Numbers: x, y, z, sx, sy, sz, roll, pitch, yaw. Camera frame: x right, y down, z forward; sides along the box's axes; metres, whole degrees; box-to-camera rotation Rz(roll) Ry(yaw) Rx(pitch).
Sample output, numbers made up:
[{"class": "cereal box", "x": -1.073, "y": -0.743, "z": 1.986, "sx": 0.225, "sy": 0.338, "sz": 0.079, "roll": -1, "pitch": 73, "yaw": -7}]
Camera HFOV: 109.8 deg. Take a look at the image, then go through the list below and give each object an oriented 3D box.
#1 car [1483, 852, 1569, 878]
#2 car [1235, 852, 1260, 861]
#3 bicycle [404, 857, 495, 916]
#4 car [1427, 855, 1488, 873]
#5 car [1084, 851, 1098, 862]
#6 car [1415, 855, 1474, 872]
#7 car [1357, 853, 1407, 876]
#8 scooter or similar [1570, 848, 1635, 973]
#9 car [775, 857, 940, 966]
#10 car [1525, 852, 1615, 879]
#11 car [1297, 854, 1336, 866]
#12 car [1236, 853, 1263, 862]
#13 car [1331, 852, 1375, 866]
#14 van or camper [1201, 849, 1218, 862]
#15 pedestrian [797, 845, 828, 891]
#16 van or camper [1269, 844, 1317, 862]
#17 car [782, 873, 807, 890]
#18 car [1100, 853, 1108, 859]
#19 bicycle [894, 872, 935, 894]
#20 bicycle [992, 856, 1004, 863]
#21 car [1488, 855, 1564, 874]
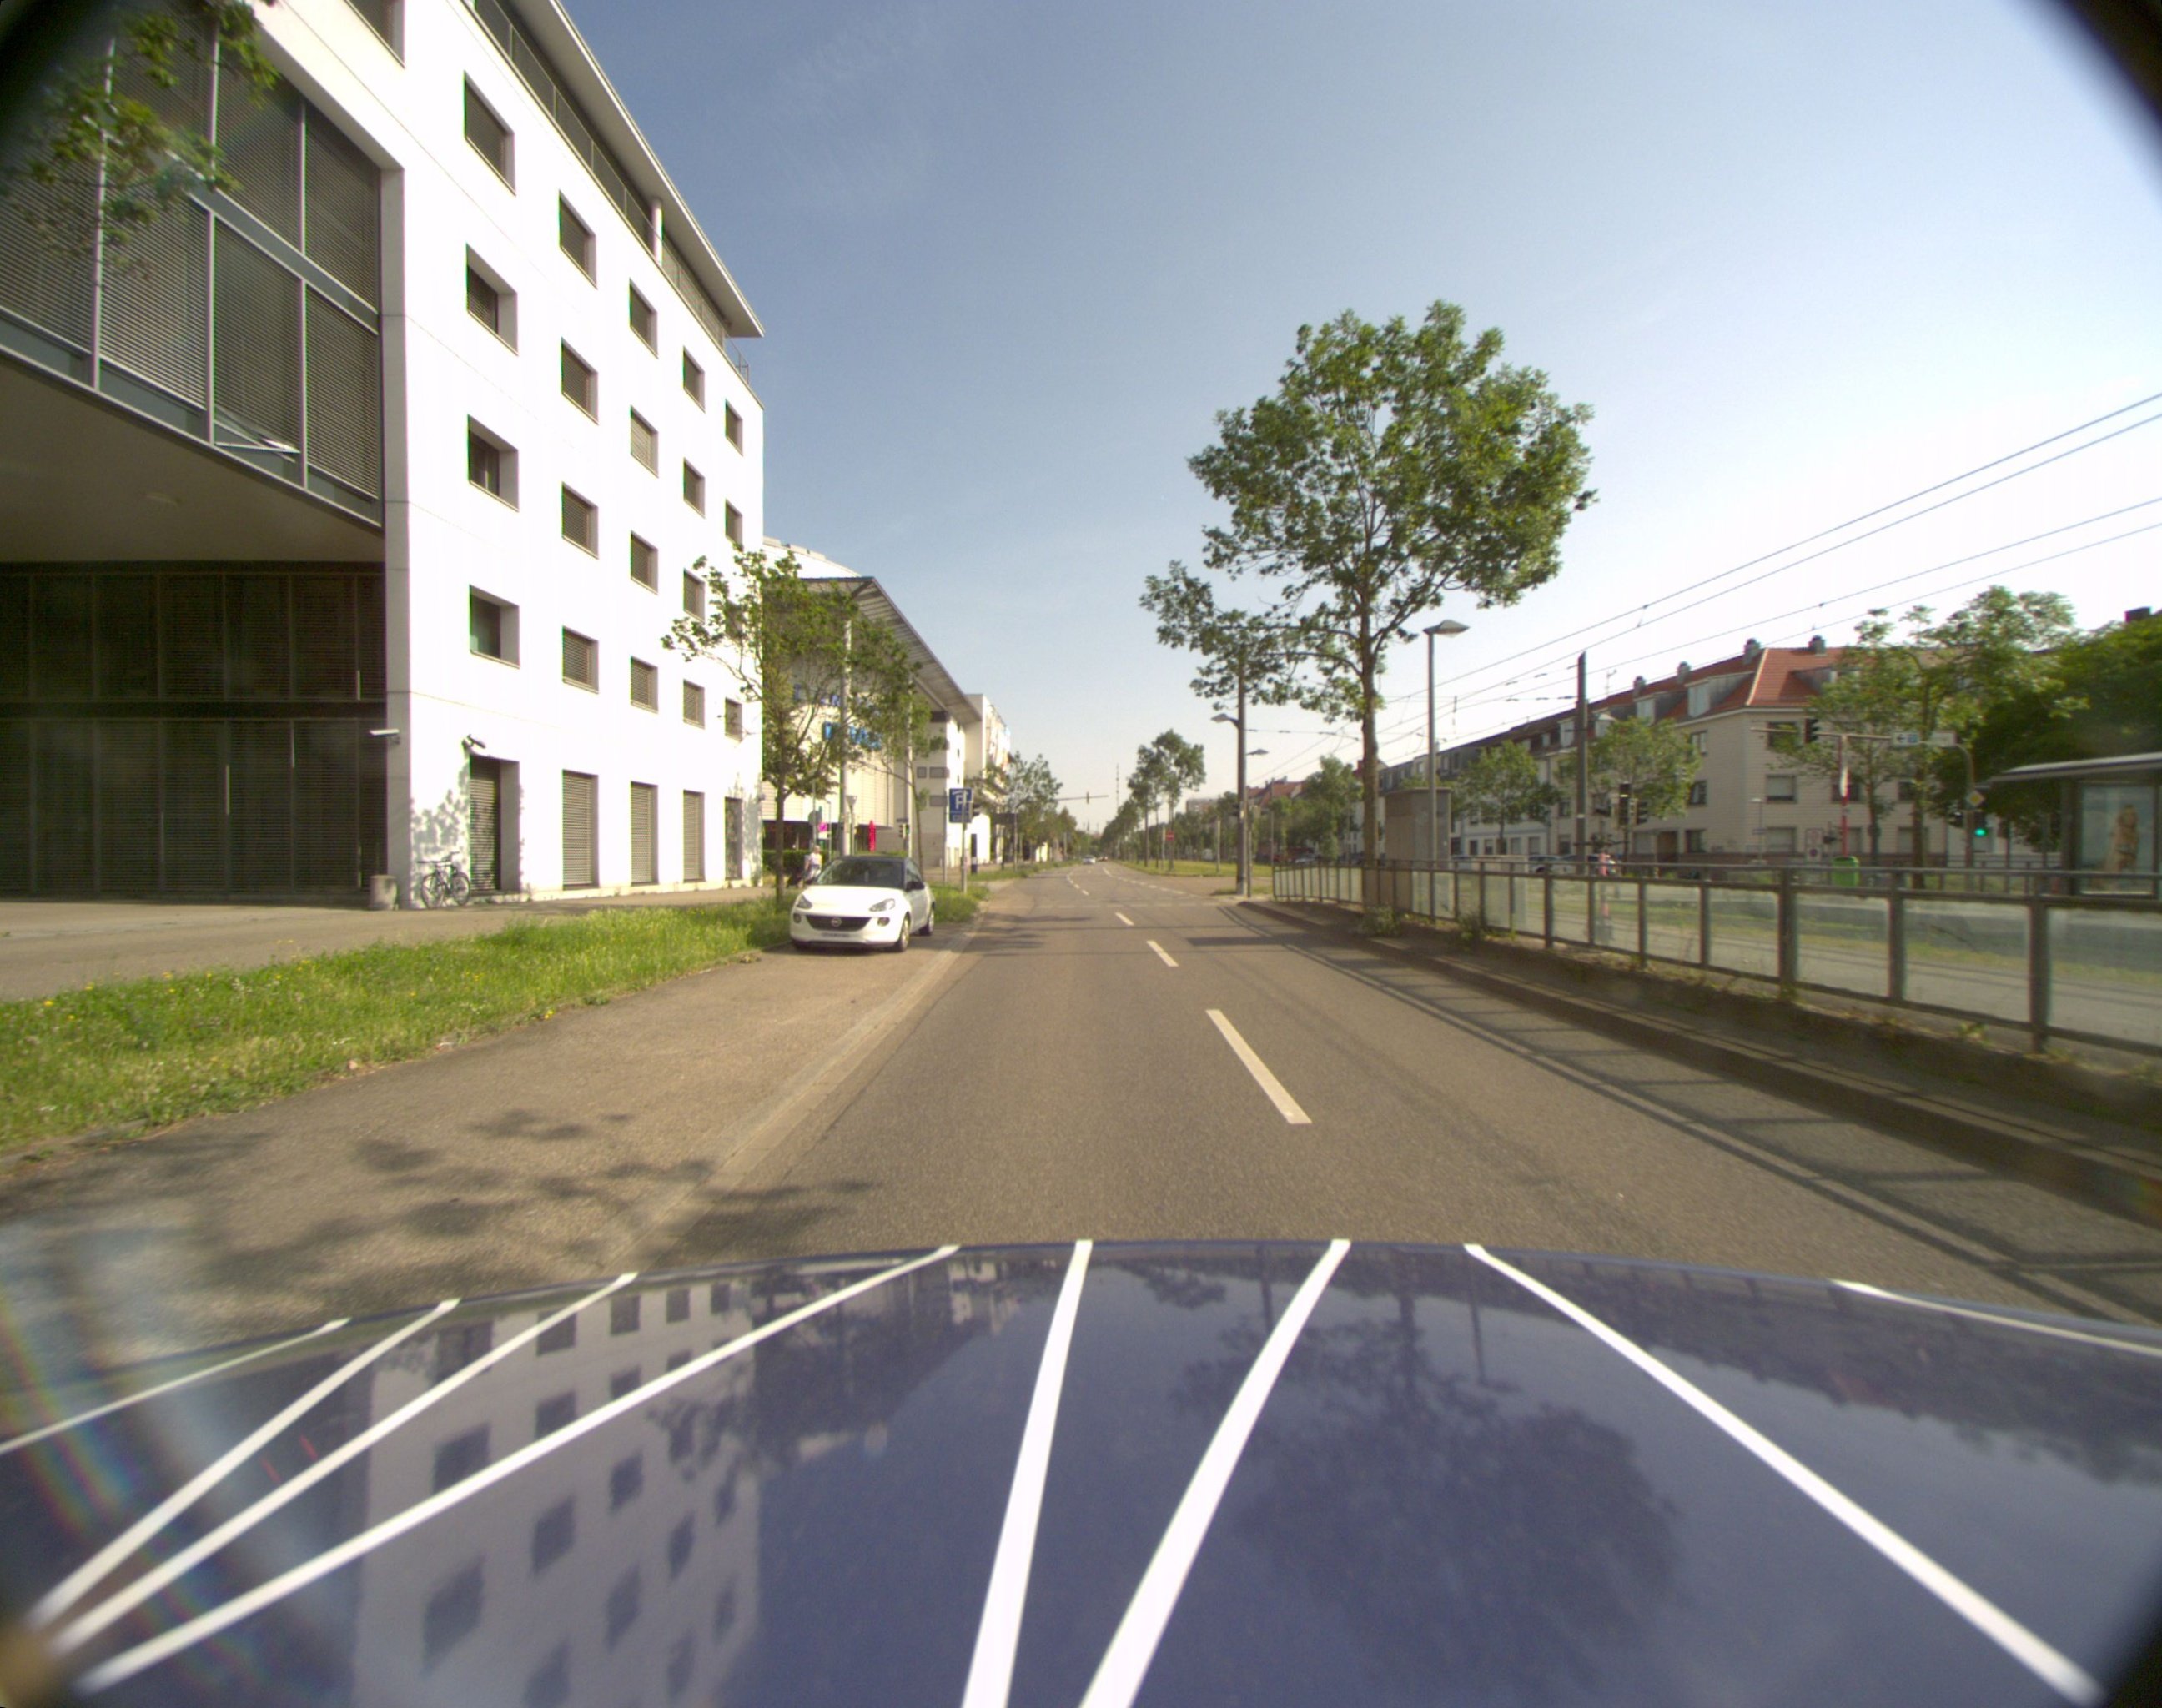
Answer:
[{"class": "car", "x": 28.114, "y": 0.725, "z": 48.027, "sx": 4.452, "sy": 1.505, "sz": 2.004, "roll": -1, "pitch": 1, "yaw": 38}, {"class": "car", "x": 30.835, "y": 0.520, "z": 140.634, "sx": 4.087, "sy": 1.520, "sz": 1.816, "roll": -1, "pitch": 1, "yaw": 39}, {"class": "bicycle", "x": -12.231, "y": 0.600, "z": 14.782, "sx": 0.495, "sy": 1.080, "sz": 1.549, "roll": 2, "pitch": 0, "yaw": -2}, {"class": "car", "x": 28.565, "y": 0.780, "z": 57.673, "sx": 3.989, "sy": 1.262, "sz": 1.890, "roll": -2, "pitch": 0, "yaw": 31}, {"class": "car", "x": 1.544, "y": 0.358, "z": 114.507, "sx": 1.998, "sy": 1.652, "sz": 4.000, "roll": 0, "pitch": 0, "yaw": 1}, {"class": "car", "x": 29.070, "y": 0.738, "z": 60.728, "sx": 3.988, "sy": 1.251, "sz": 1.880, "roll": 1, "pitch": 0, "yaw": 34}, {"class": "car", "x": 23.629, "y": 0.790, "z": 59.932, "sx": 1.999, "sy": 1.696, "sz": 4.712, "roll": 3, "pitch": 0, "yaw": 0}, {"class": "scooter or similar", "x": 5.591, "y": 0.564, "z": 8.185, "sx": 0.426, "sy": 1.231, "sz": 1.264, "roll": 1, "pitch": 1, "yaw": 28}, {"class": "car", "x": -3.522, "y": 0.829, "z": 12.684, "sx": 1.725, "sy": 1.510, "sz": 3.780, "roll": 1, "pitch": 0, "yaw": -2}, {"class": "car", "x": 28.458, "y": 0.661, "z": 44.286, "sx": 4.341, "sy": 1.455, "sz": 1.967, "roll": -1, "pitch": 1, "yaw": 34}, {"class": "car", "x": 29.773, "y": 0.763, "z": 95.989, "sx": 4.387, "sy": 1.312, "sz": 1.737, "roll": -1, "pitch": 0, "yaw": 34}, {"class": "car", "x": 30.637, "y": 0.656, "z": 137.963, "sx": 4.354, "sy": 1.466, "sz": 1.861, "roll": -1, "pitch": 1, "yaw": 39}, {"class": "car", "x": 29.695, "y": 0.534, "z": 83.018, "sx": 4.329, "sy": 1.368, "sz": 2.003, "roll": -2, "pitch": 0, "yaw": 27}, {"class": "van or camper", "x": 25.313, "y": 0.291, "z": 149.849, "sx": 2.147, "sy": 2.459, "sz": 6.058, "roll": 2, "pitch": 0, "yaw": 1}, {"class": "pedestrian", "x": -9.775, "y": 0.503, "z": 27.627, "sx": 0.777, "sy": 1.606, "sz": 0.715, "roll": 2, "pitch": 1, "yaw": 37}, {"class": "van or camper", "x": 30.316, "y": -0.152, "z": 108.909, "sx": 6.144, "sy": 2.532, "sz": 2.419, "roll": 0, "pitch": 0, "yaw": 39}, {"class": "car", "x": -10.519, "y": 1.004, "z": 27.914, "sx": 0.765, "sy": 0.584, "sz": 0.499, "roll": 1, "pitch": 0, "yaw": 37}, {"class": "car", "x": 5.770, "y": 0.541, "z": 192.428, "sx": 1.998, "sy": 1.652, "sz": 4.000, "roll": 0, "pitch": 0, "yaw": 1}, {"class": "bicycle", "x": -5.884, "y": 1.030, "z": 26.853, "sx": 1.273, "sy": 0.629, "sz": 0.521, "roll": 6, "pitch": 2, "yaw": 8}, {"class": "bicycle", "x": -11.646, "y": 0.798, "z": 106.543, "sx": 1.661, "sy": 0.910, "sz": 0.482, "roll": 1, "pitch": 0, "yaw": 2}, {"class": "car", "x": 29.285, "y": 0.689, "z": 50.031, "sx": 3.989, "sy": 1.171, "sz": 2.004, "roll": -1, "pitch": 1, "yaw": 42}]
